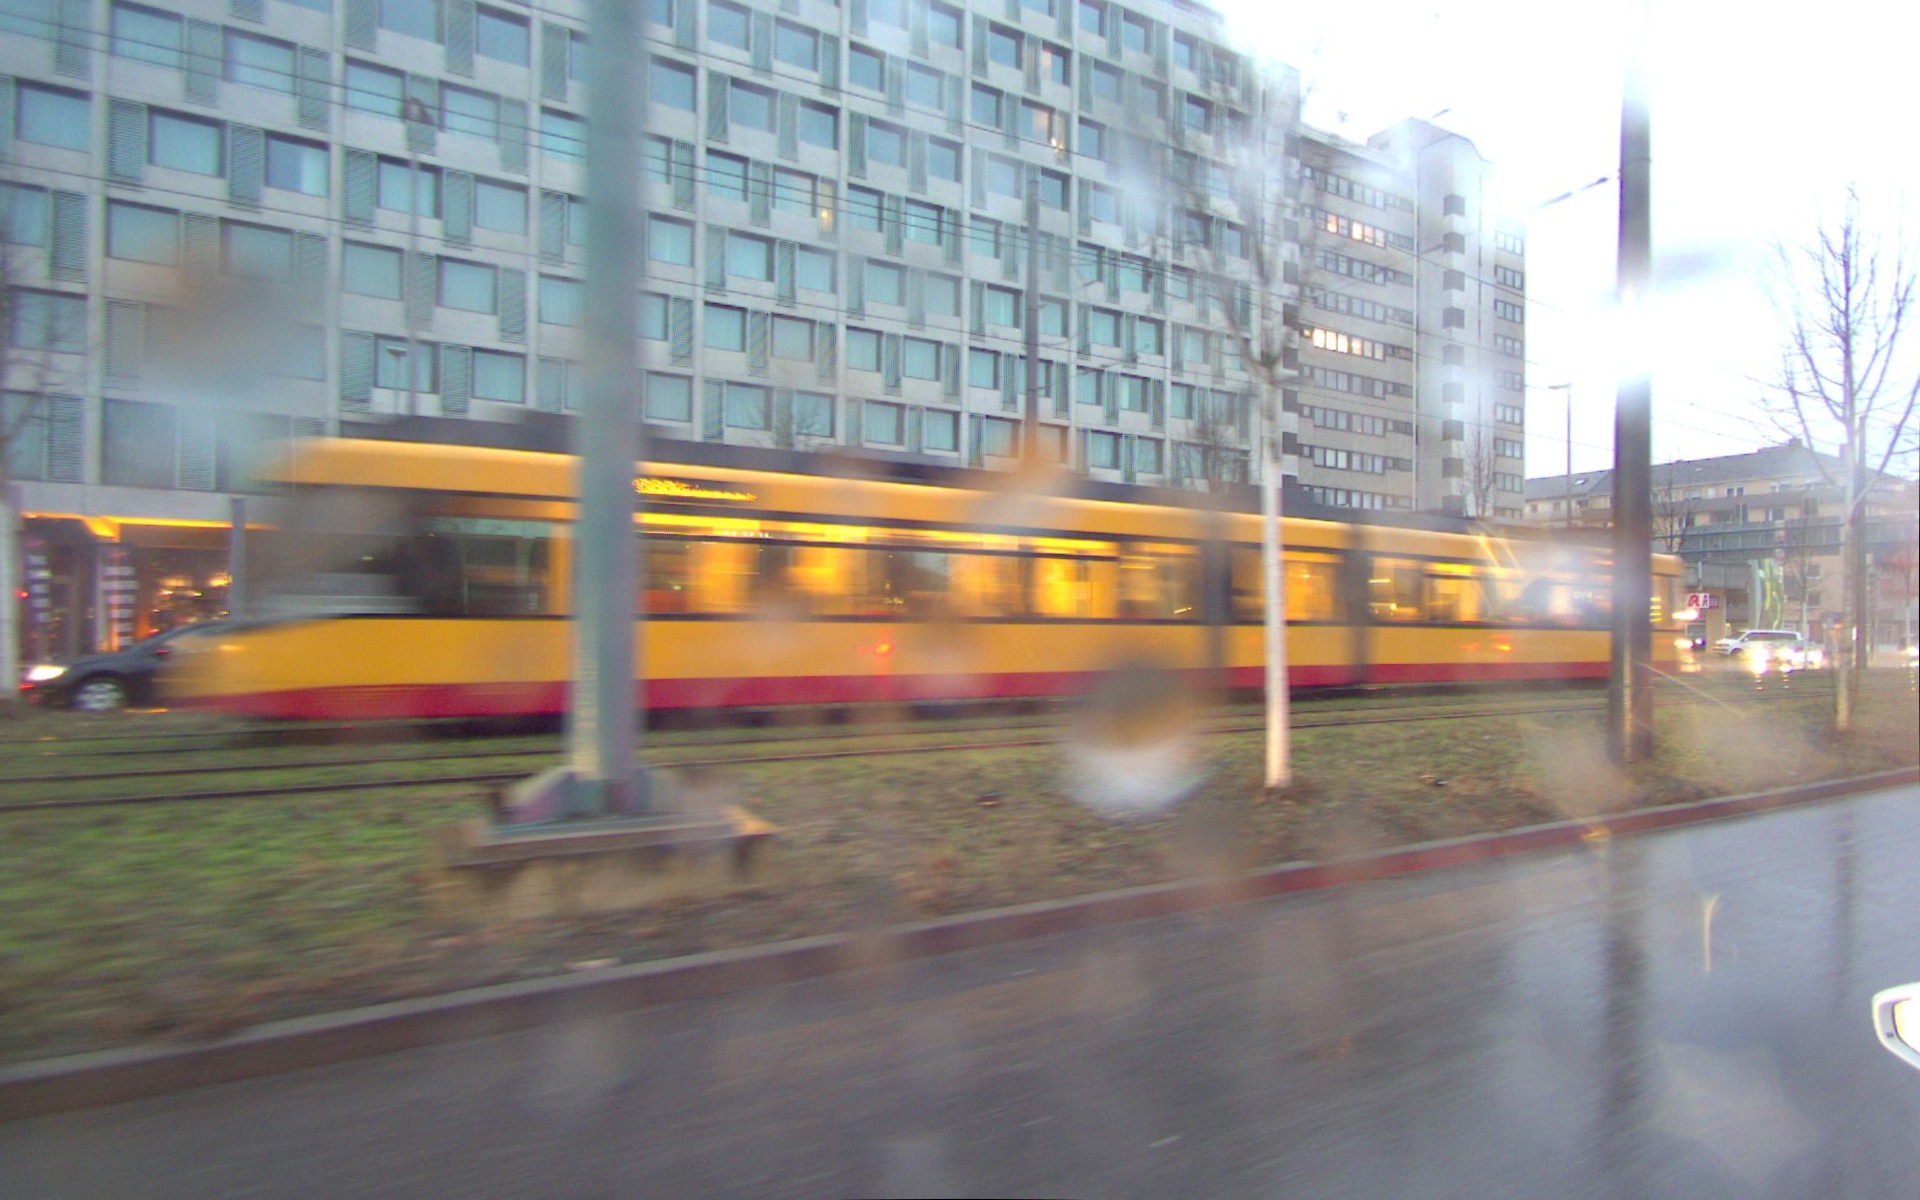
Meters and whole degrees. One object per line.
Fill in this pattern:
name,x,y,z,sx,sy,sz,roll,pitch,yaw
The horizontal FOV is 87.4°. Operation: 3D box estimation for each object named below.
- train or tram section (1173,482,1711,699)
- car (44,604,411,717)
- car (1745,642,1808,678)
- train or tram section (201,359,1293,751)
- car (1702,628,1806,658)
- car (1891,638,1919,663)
train or tram section,10.803,0.013,21.202,14.099,3.533,2.943,1,-1,-31
car,-11.390,0.871,15.844,1.973,1.516,4.422,0,-1,45
car,46.140,3.340,56.765,3.885,1.910,1.712,1,-1,-34
train or tram section,-1.426,-0.238,13.926,14.151,3.533,2.943,1,-1,-31
car,53.419,2.878,67.673,5.059,1.937,2.001,0,-1,16
car,56.818,2.973,59.330,3.668,1.450,1.884,1,-1,-34
